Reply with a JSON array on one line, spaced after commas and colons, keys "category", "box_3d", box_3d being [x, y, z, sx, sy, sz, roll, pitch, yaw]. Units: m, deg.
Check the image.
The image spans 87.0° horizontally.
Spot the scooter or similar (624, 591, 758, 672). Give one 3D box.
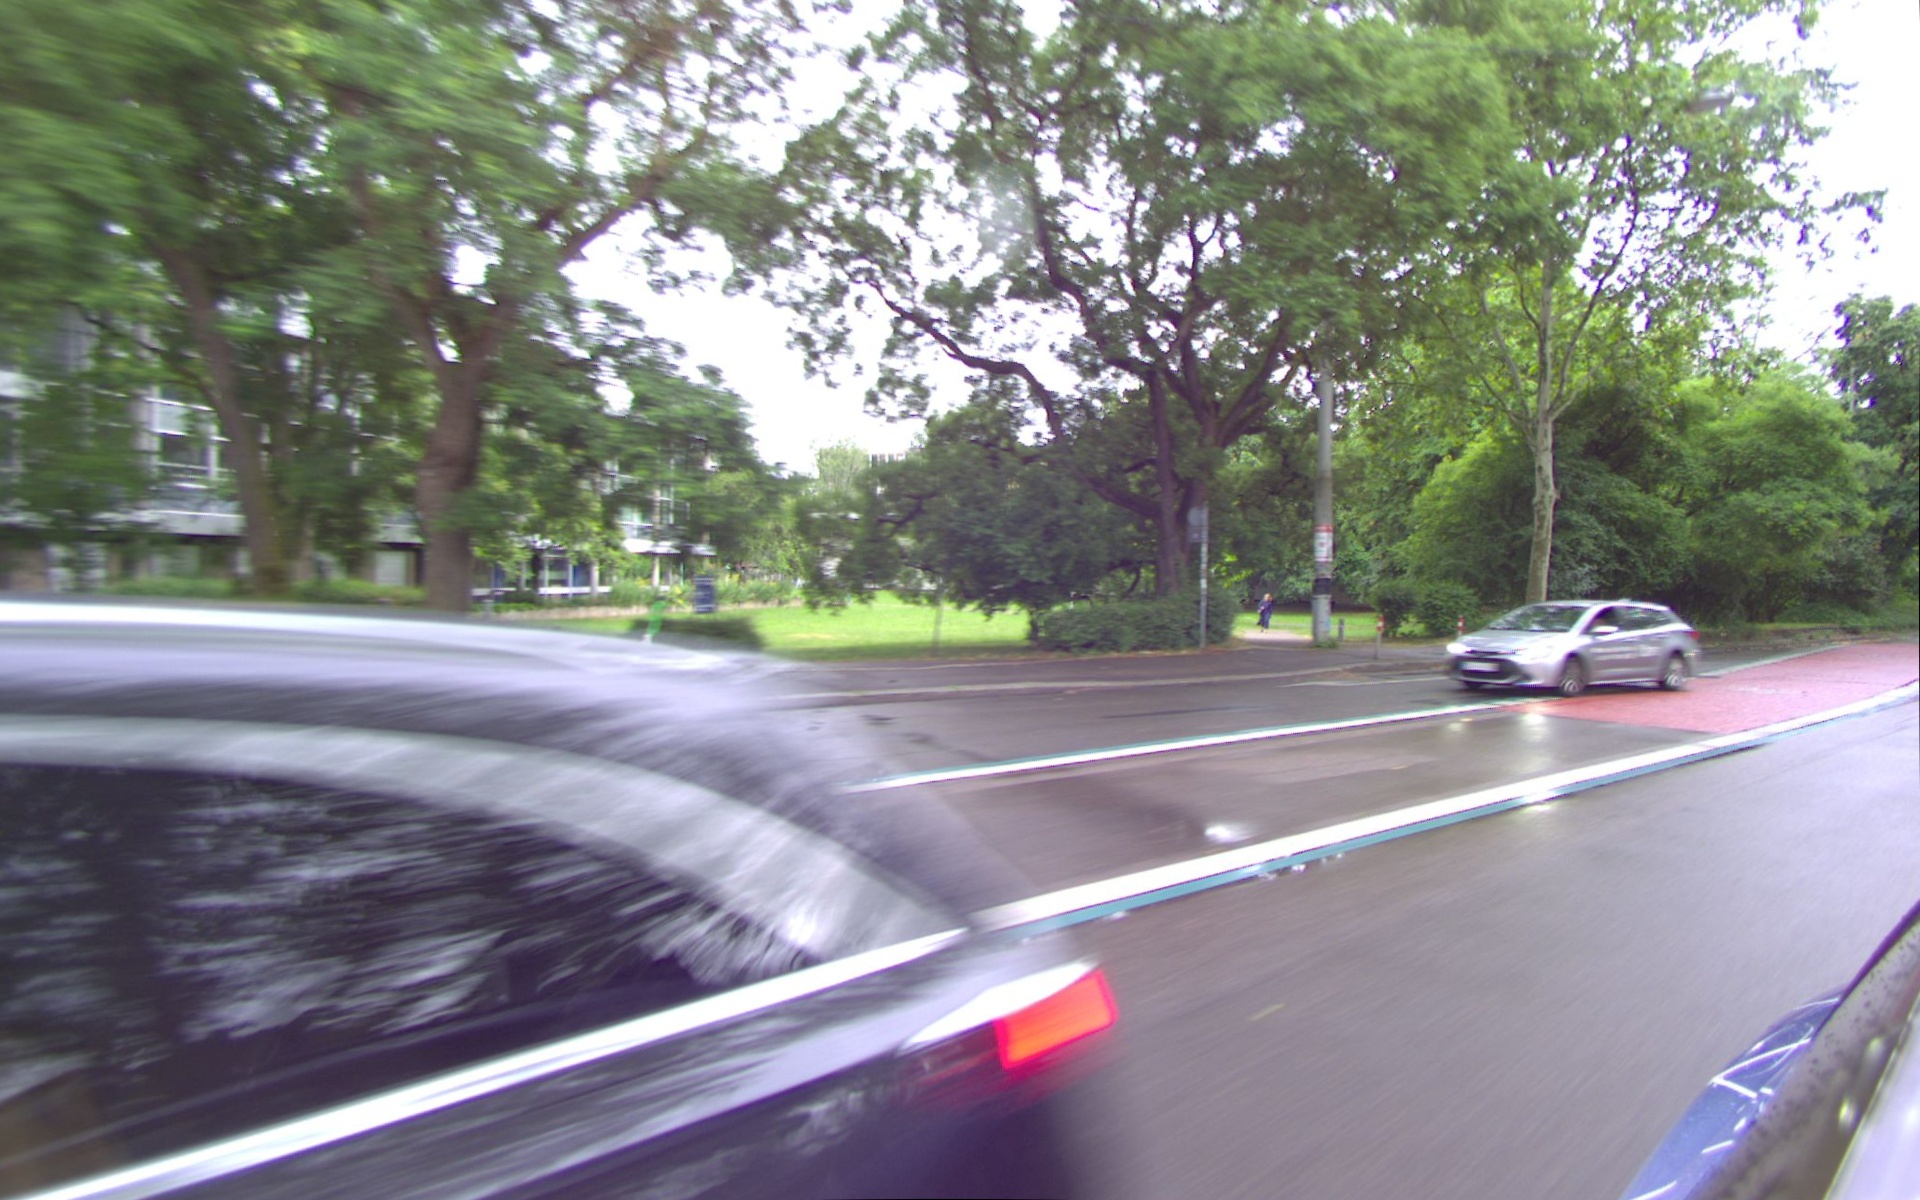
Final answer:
[{"category": "scooter or similar", "box_3d": [-3.992, 0.464, 15.011, 1.851, 1.114, 0.560, 2, 3, -18]}]

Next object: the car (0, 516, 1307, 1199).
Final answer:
[{"category": "car", "box_3d": [-1.969, 0.678, 0.669, 4.841, 1.464, 1.884, 0, 0, -39]}]

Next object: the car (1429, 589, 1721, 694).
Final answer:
[{"category": "car", "box_3d": [9.822, 0.595, 16.146, 4.312, 1.468, 1.871, 0, 1, -25]}]
